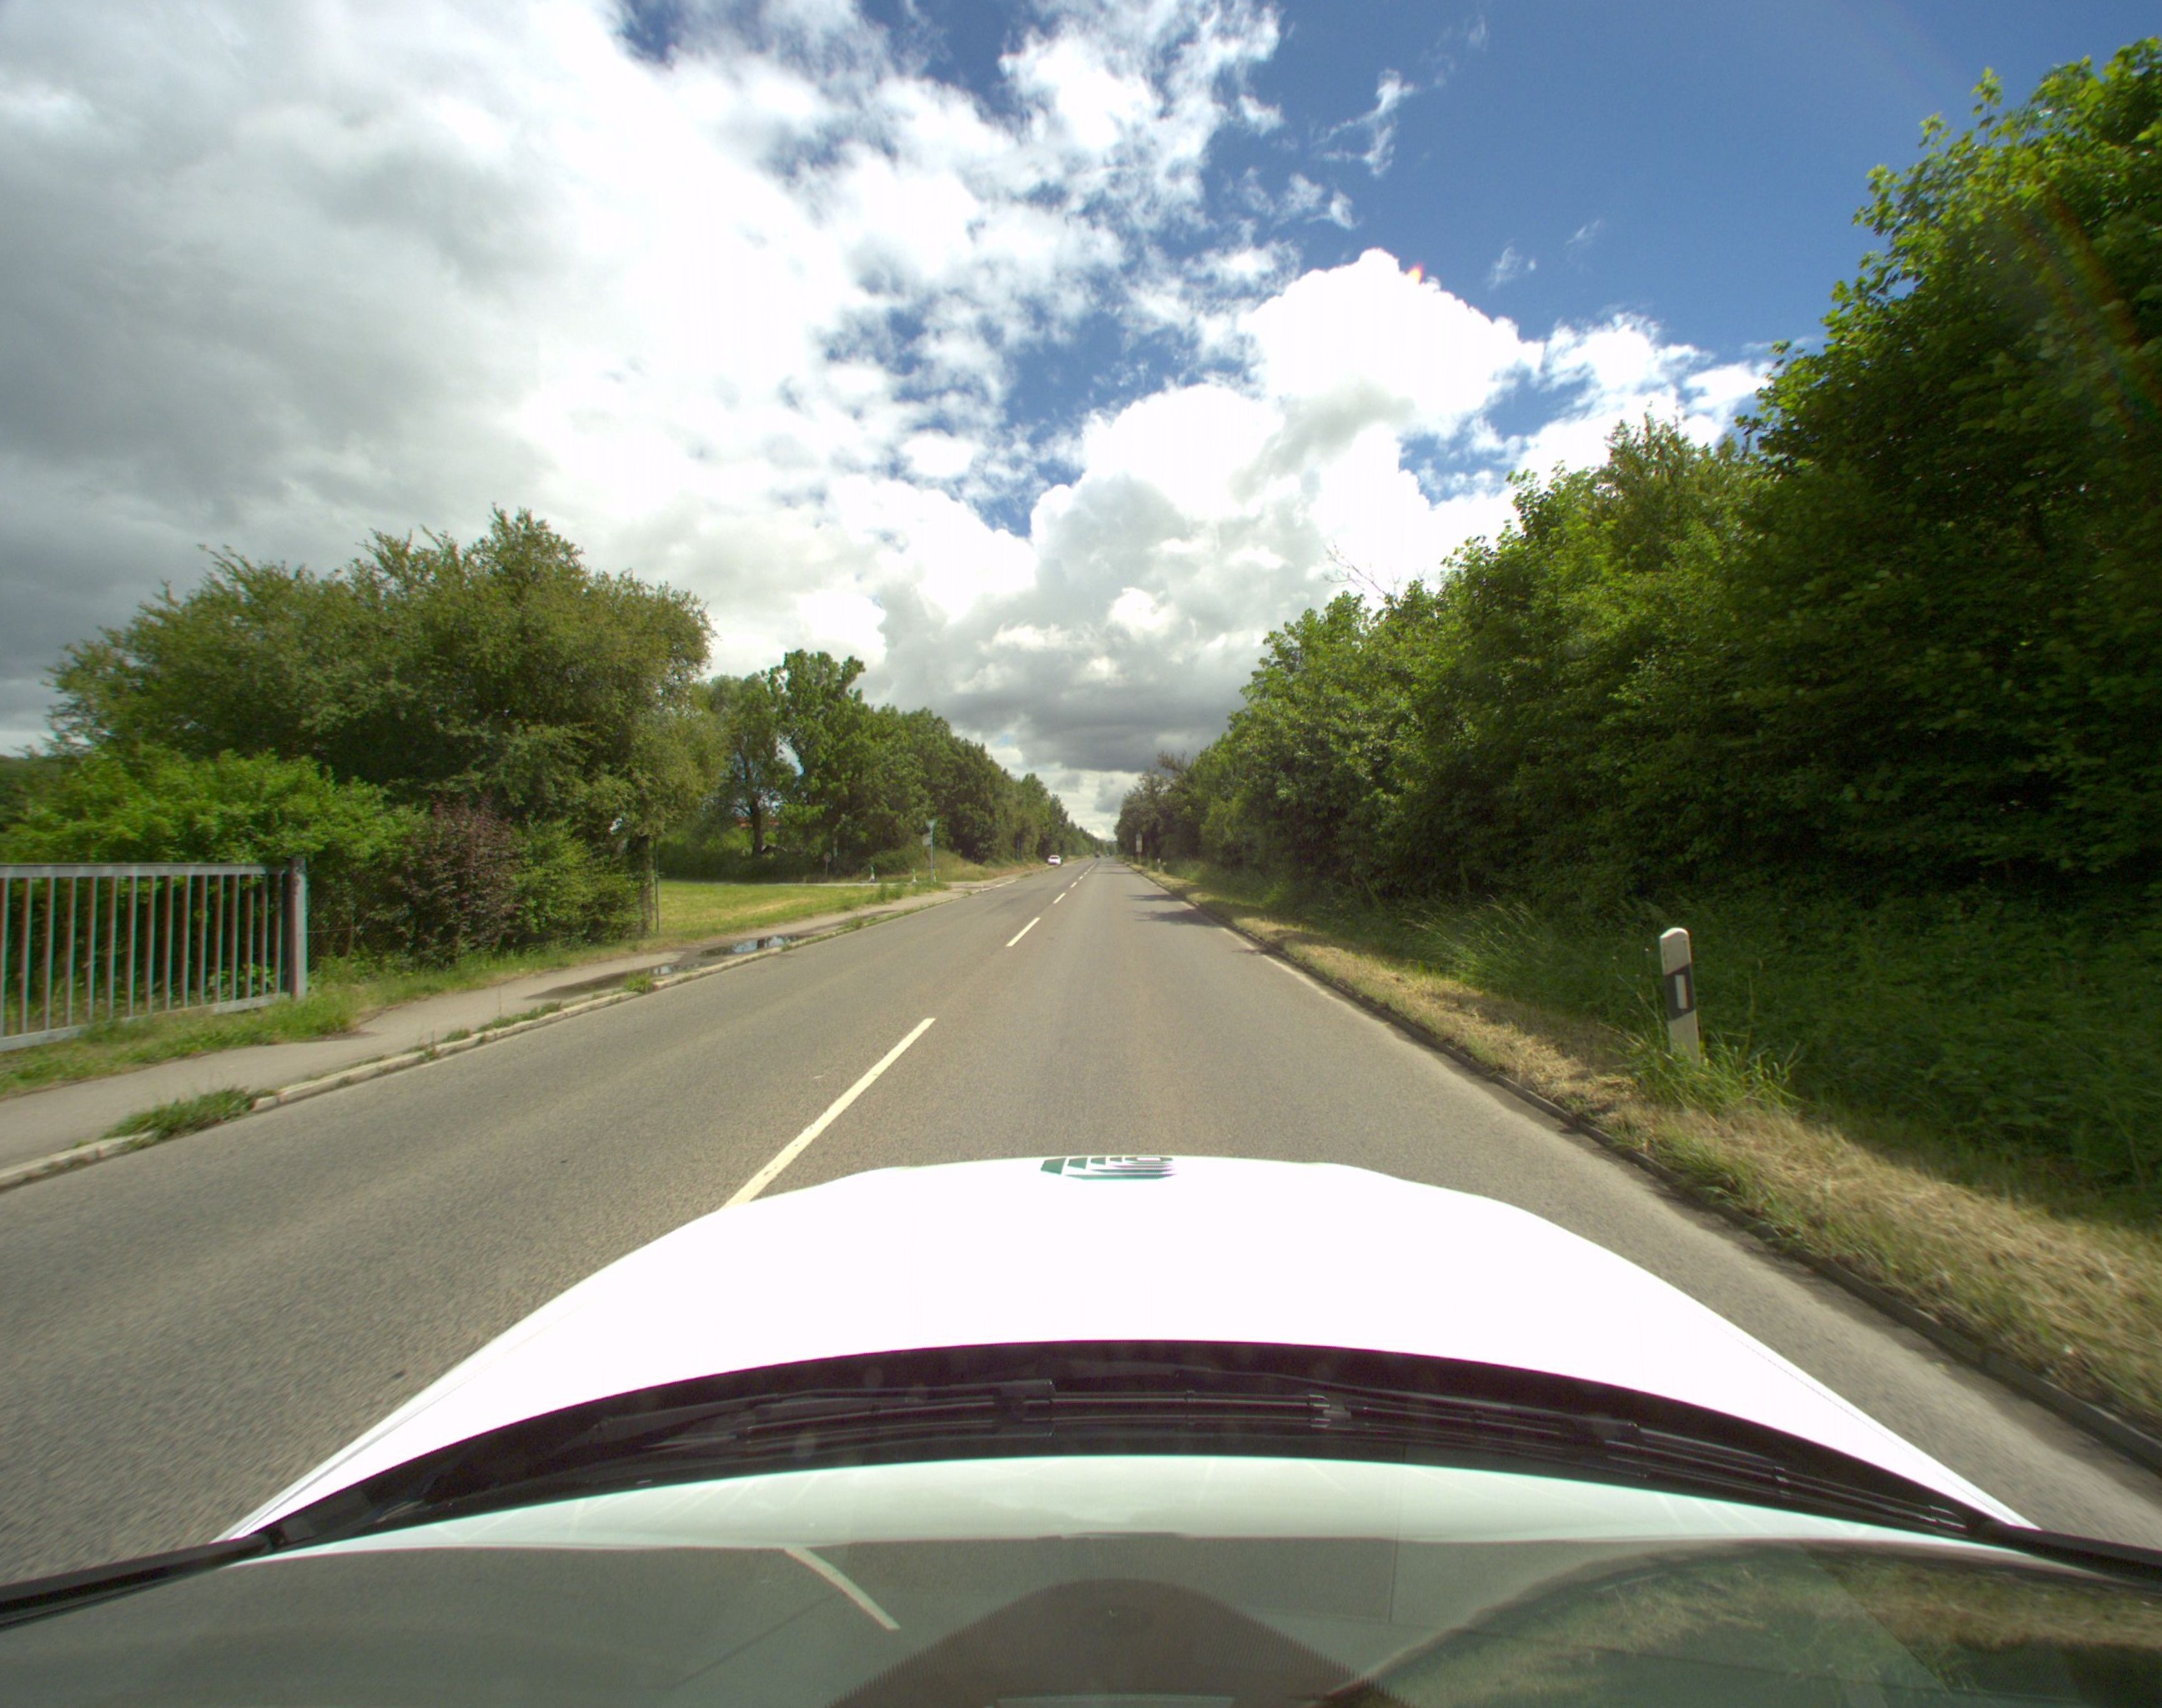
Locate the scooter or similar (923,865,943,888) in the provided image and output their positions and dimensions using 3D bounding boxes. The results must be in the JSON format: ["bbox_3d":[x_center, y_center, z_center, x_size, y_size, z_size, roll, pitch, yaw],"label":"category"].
[{"bbox_3d":[-7.964,1.202,43.843,0.409,1.168,1.335,-1,0,-42],"label":"scooter or similar"}]

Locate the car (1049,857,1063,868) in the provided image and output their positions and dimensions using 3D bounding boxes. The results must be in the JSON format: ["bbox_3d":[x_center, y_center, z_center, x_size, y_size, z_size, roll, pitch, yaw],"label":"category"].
[{"bbox_3d":[-3.613,1.202,119.271,1.791,1.543,3.956,-2,-1,2],"label":"car"}]

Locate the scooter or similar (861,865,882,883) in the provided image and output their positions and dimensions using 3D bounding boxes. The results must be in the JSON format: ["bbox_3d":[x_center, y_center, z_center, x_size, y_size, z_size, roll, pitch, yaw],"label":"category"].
[{"bbox_3d":[-13.276,1.270,51.684,1.234,1.168,0.408,-1,0,14],"label":"scooter or similar"}]

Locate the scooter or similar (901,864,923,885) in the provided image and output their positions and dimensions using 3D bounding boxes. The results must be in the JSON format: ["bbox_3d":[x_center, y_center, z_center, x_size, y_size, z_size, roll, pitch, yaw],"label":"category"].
[{"bbox_3d":[-9.245,1.115,44.532,1.334,1.168,0.409,-1,0,42],"label":"scooter or similar"}]
